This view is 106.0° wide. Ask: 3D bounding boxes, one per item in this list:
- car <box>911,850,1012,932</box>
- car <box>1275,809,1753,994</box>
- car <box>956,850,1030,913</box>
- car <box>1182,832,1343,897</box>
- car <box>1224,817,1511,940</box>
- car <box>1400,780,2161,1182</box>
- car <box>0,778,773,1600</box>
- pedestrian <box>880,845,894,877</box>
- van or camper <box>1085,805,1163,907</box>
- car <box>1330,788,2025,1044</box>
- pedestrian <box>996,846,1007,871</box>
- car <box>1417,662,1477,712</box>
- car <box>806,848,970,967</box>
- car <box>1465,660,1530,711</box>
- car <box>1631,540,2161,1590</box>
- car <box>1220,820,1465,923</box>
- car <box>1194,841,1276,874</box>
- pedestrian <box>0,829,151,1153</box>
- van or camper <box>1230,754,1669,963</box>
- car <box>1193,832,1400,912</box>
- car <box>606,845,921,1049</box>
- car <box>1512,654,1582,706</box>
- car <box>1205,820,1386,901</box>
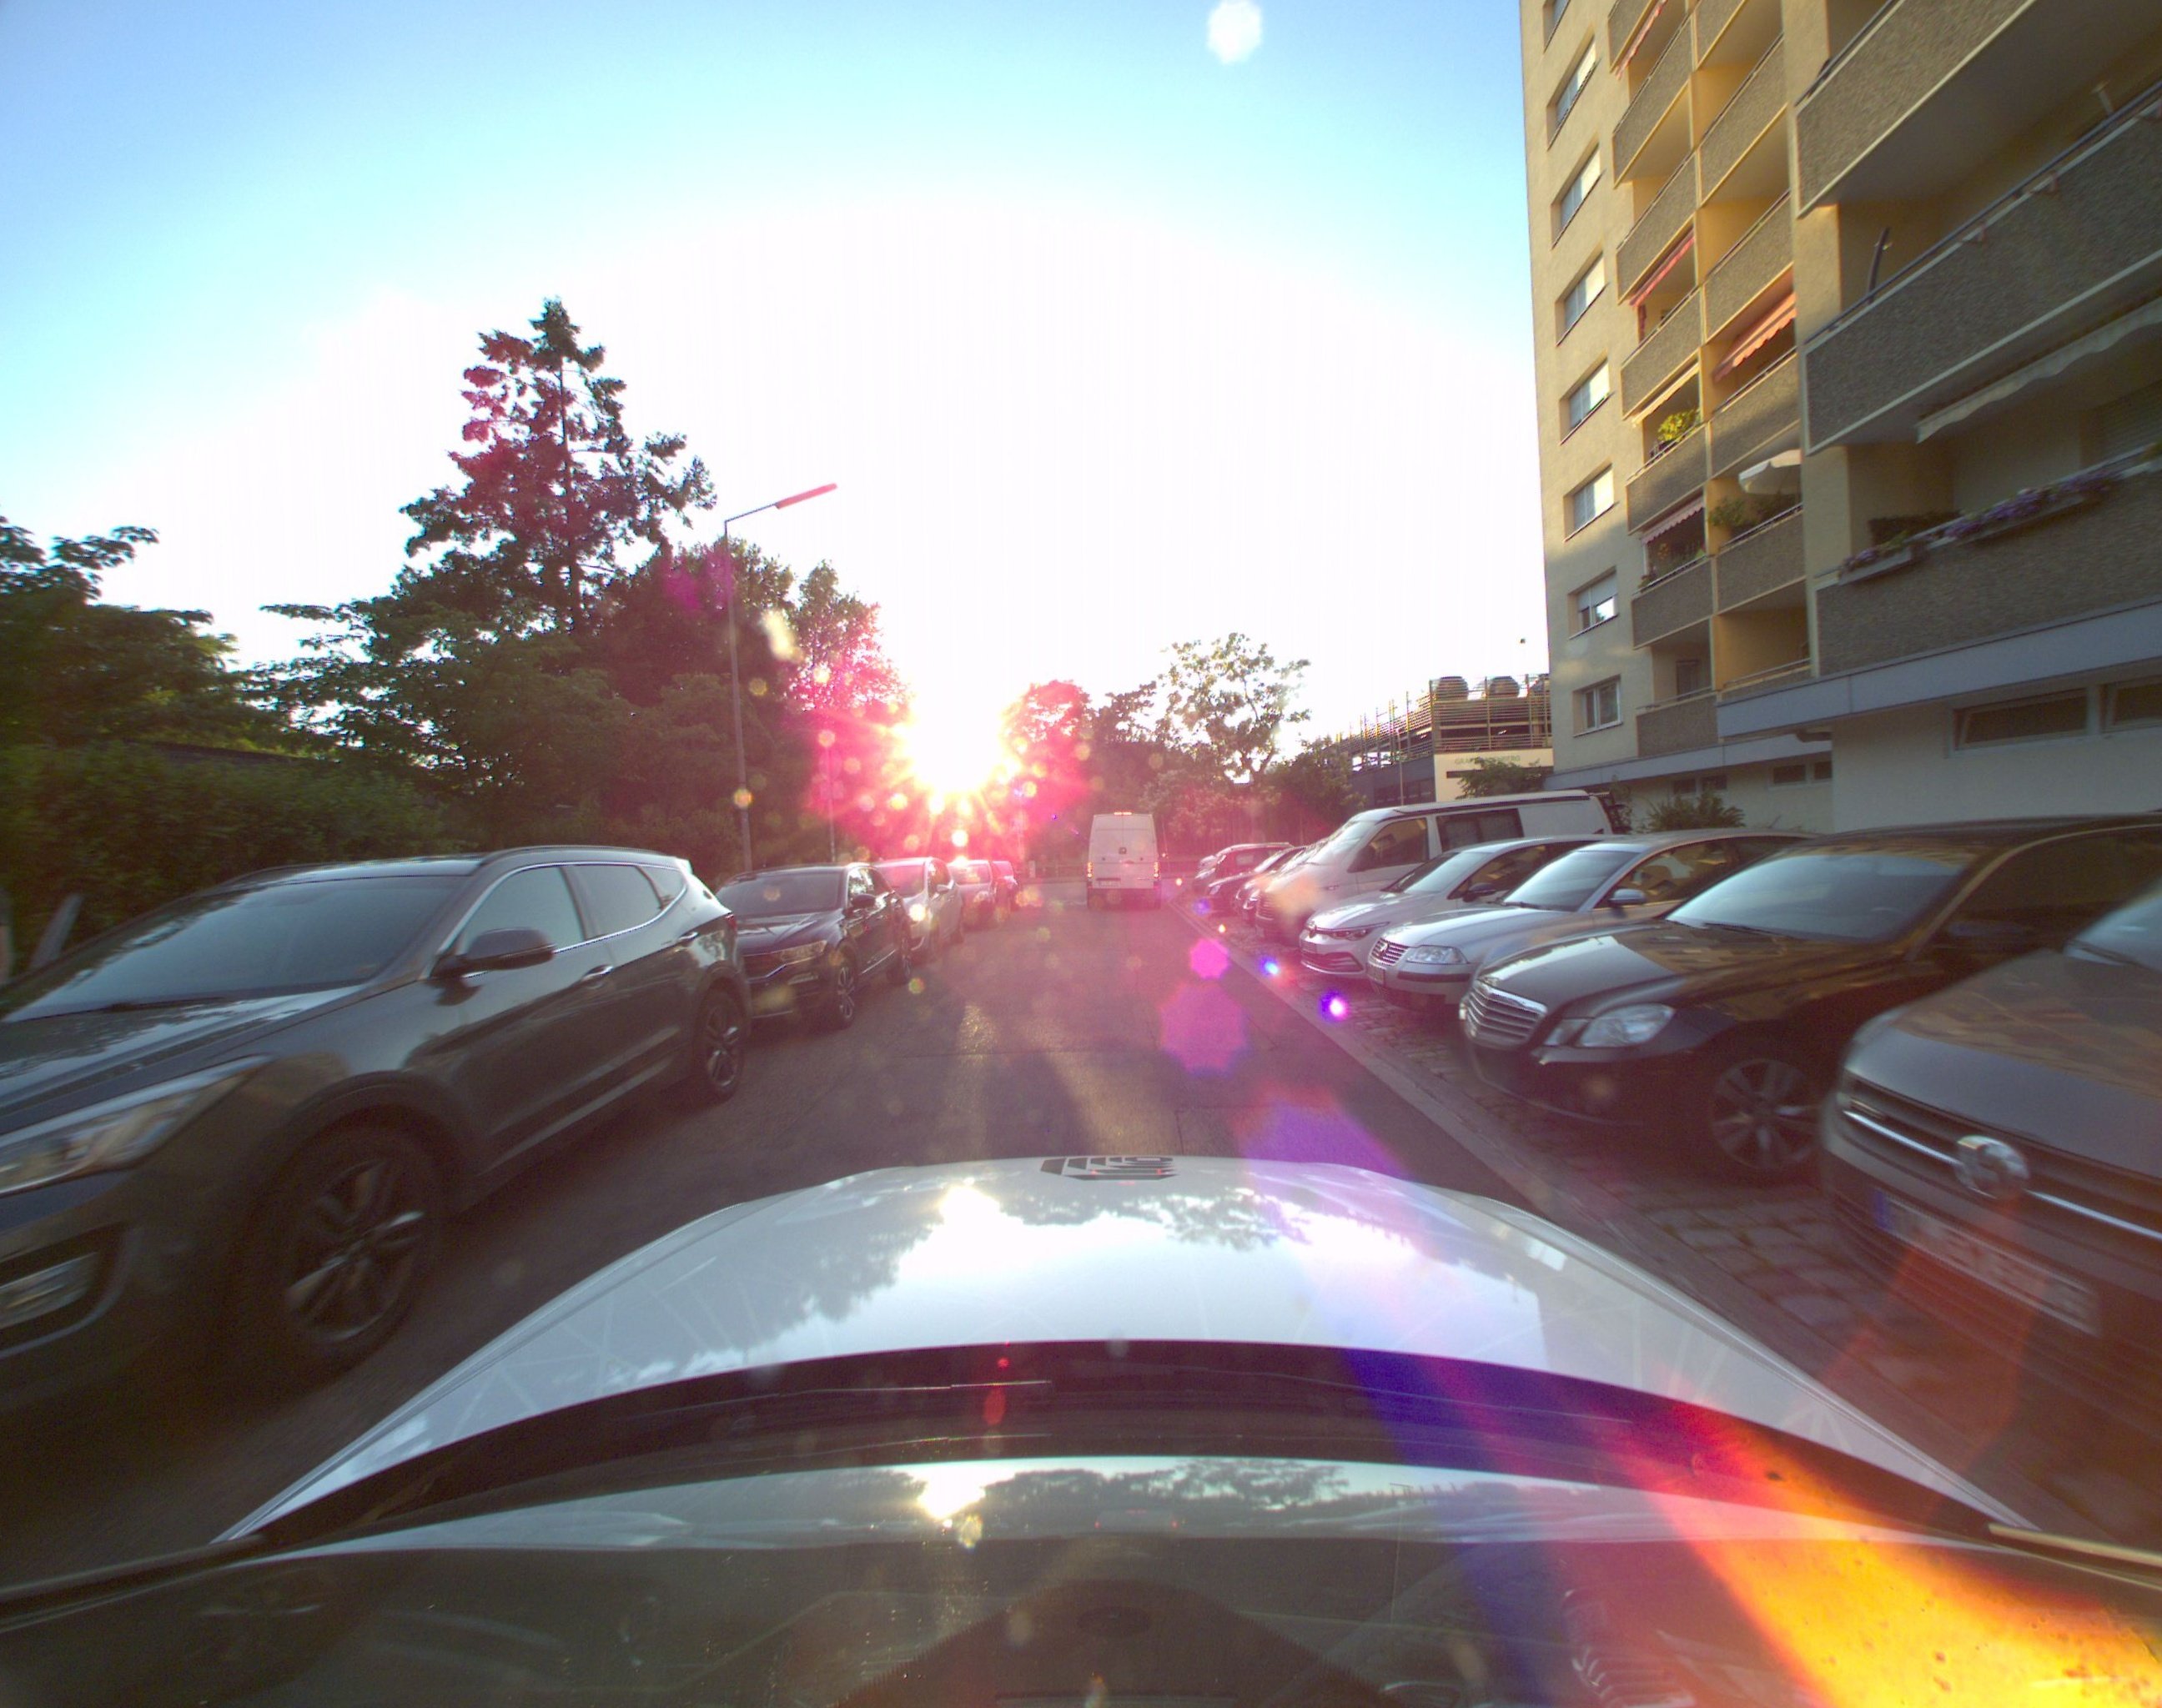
[{"bbox_3d":[-2.620,0.759,18.687,1.728,1.567,3.695,-4,1,-1],"label":"car"},{"bbox_3d":[4.661,0.511,9.296,4.388,1.631,1.846,-4,-2,1],"label":"car"},{"bbox_3d":[-2.509,0.737,24.009,1.728,1.567,3.789,-4,1,-1],"label":"car"},{"bbox_3d":[5.422,0.337,24.741,4.390,1.631,1.845,-4,-2,-1],"label":"car"},{"bbox_3d":[4.896,0.427,14.354,4.313,1.661,1.781,-5,-2,-1],"label":"car"},{"bbox_3d":[4.317,0.509,4.407,4.388,1.563,1.846,-4,-2,1],"label":"car"},{"bbox_3d":[-3.164,0.735,3.839,1.728,1.730,4.321,-4,1,-1],"label":"car"},{"bbox_3d":[-10.961,0.394,46.010,0.590,1.809,0.621,-1,0,3],"label":"pedestrian"},{"bbox_3d":[1.233,0.034,24.542,1.986,2.618,6.406,-1,0,2],"label":"van or camper"},{"bbox_3d":[4.597,0.475,6.845,4.388,1.593,1.846,-4,-2,1],"label":"car"},{"bbox_3d":[-5.249,0.269,53.806,0.644,1.648,0.674,0,1,2],"label":"pedestrian"},{"bbox_3d":[20.826,-9.477,46.515,1.983,2.013,4.008,-1,0,7],"label":"car"},{"bbox_3d":[-3.010,0.744,13.606,1.728,1.567,4.128,-4,1,-1],"label":"car"},{"bbox_3d":[23.493,-9.498,46.125,1.983,2.013,4.008,-1,0,7],"label":"car"},{"bbox_3d":[4.335,0.289,1.981,4.620,1.981,1.846,-4,-2,1],"label":"car"},{"bbox_3d":[5.321,0.369,16.986,4.391,1.661,1.845,-5,-2,-1],"label":"car"},{"bbox_3d":[7.971,0.148,42.434,3.843,1.574,1.958,-2,1,-1],"label":"car"},{"bbox_3d":[-6.199,0.724,4.653,0.895,1.732,0.751,1,0,2],"label":"pedestrian"},{"bbox_3d":[4.924,0.052,11.470,5.117,2.167,2.040,-6,0,-1],"label":"van or camper"},{"bbox_3d":[5.028,0.430,19.454,4.390,1.531,1.845,-4,-2,-1],"label":"car"},{"bbox_3d":[-3.019,0.744,8.801,1.728,1.567,4.166,-4,1,-1],"label":"car"},{"bbox_3d":[26.079,-9.717,45.767,1.983,2.013,4.008,-1,0,7],"label":"car"},{"bbox_3d":[5.721,0.171,22.188,4.385,1.631,1.848,-6,0,3],"label":"car"}]
